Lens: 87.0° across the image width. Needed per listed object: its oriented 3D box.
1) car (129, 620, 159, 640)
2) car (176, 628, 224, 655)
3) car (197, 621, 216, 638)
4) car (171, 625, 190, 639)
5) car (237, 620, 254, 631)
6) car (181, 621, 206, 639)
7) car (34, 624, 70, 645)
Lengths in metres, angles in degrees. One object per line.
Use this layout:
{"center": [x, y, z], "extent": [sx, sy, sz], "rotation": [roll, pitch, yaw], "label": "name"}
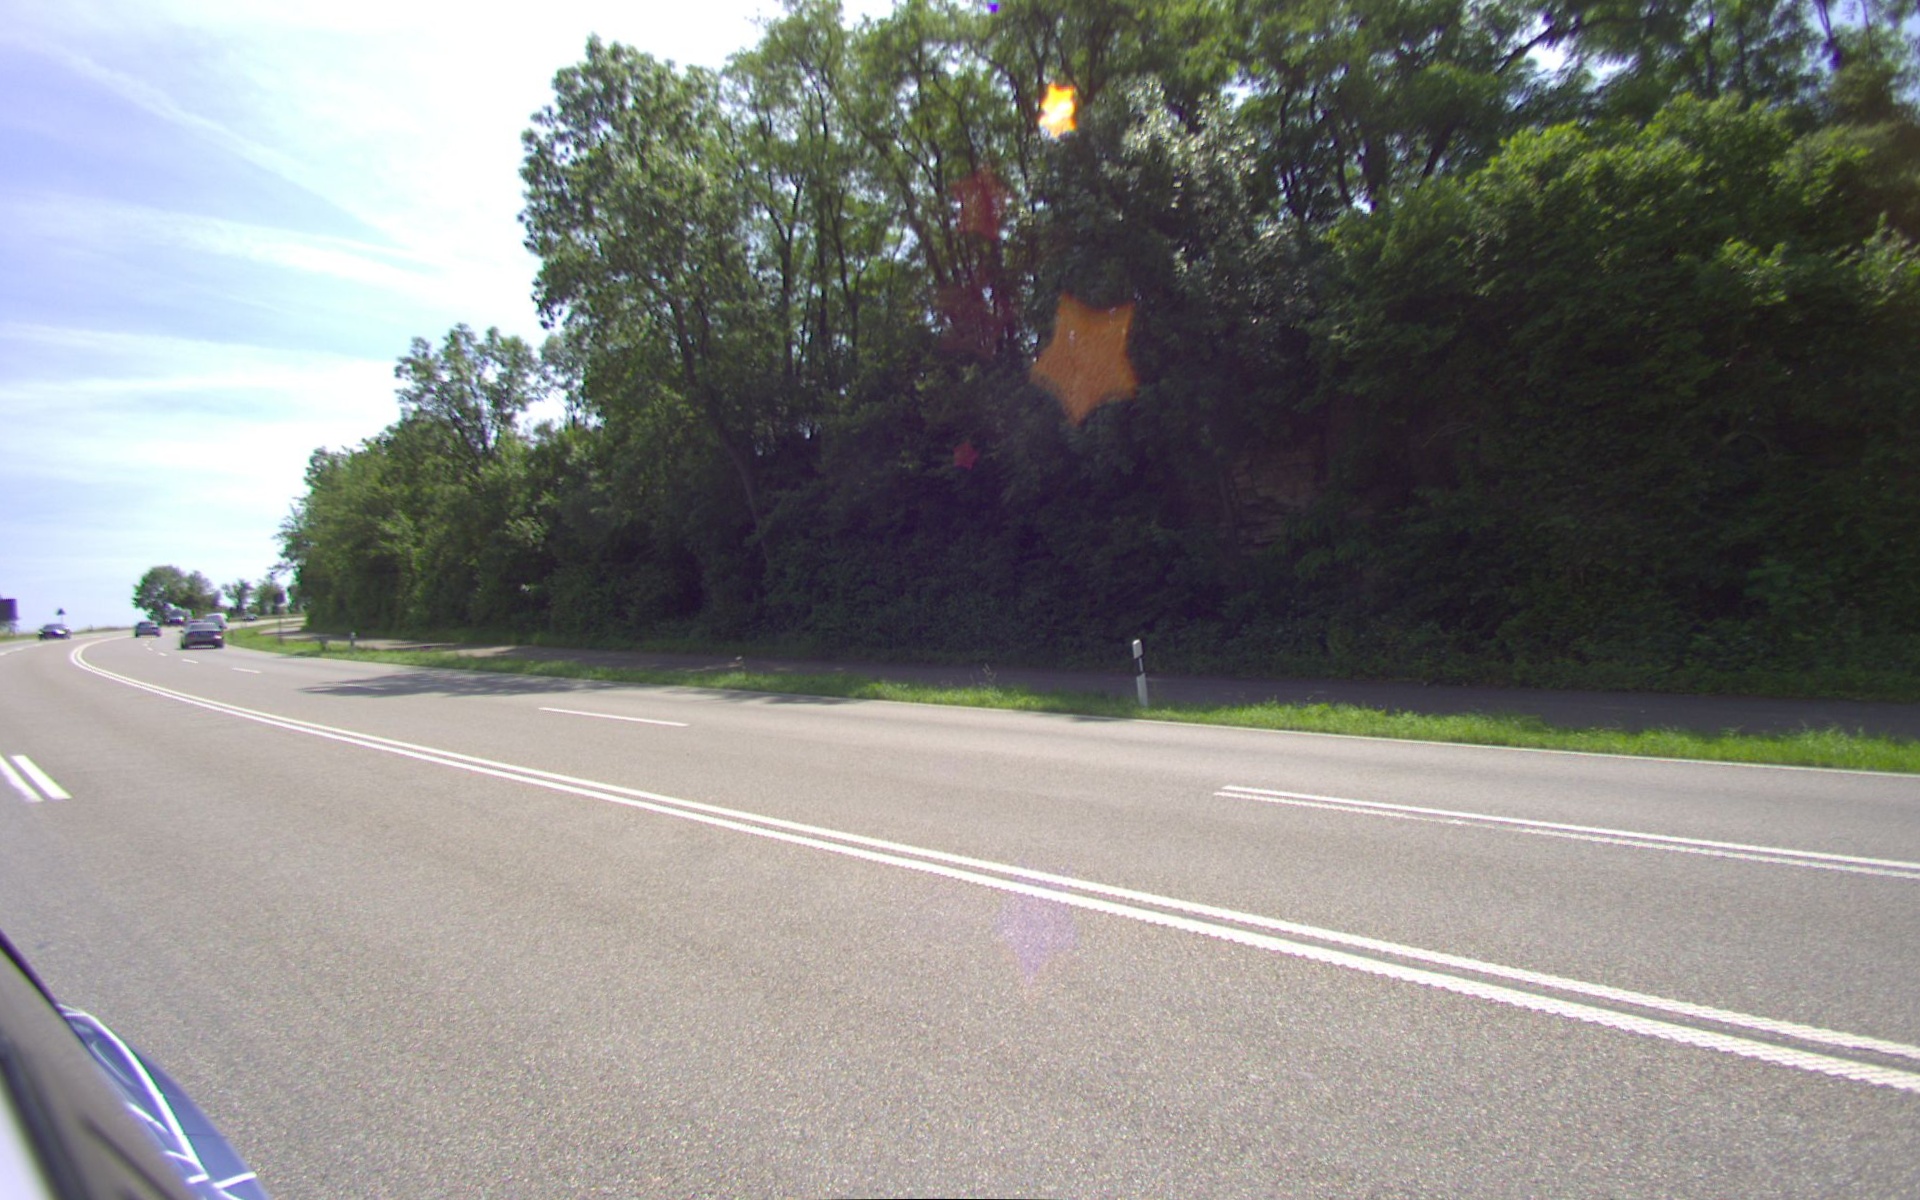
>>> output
{"center": [-74.788, 2.779, 92.783], "extent": [1.929, 1.741, 3.920], "rotation": [-1, -1, -36], "label": "car"}
{"center": [-42.251, 2.301, 56.230], "extent": [1.781, 1.398, 3.875], "rotation": [-1, -1, -42], "label": "car"}
{"center": [-93.015, 3.592, 124.917], "extent": [1.789, 2.029, 3.879], "rotation": [-1, 0, -36], "label": "car"}
{"center": [-115.333, 4.762, 149.821], "extent": [1.966, 2.029, 4.011], "rotation": [-1, -1, -34], "label": "car"}
{"center": [-135.184, 4.798, 191.489], "extent": [1.737, 1.874, 3.822], "rotation": [-1, 0, -23], "label": "car"}
{"center": [-77.407, 2.984, 102.228], "extent": [1.967, 1.687, 4.009], "rotation": [-1, 0, -36], "label": "car"}
{"center": [-80.701, 3.019, 90.011], "extent": [1.967, 1.741, 4.009], "rotation": [-1, 0, -36], "label": "car"}
